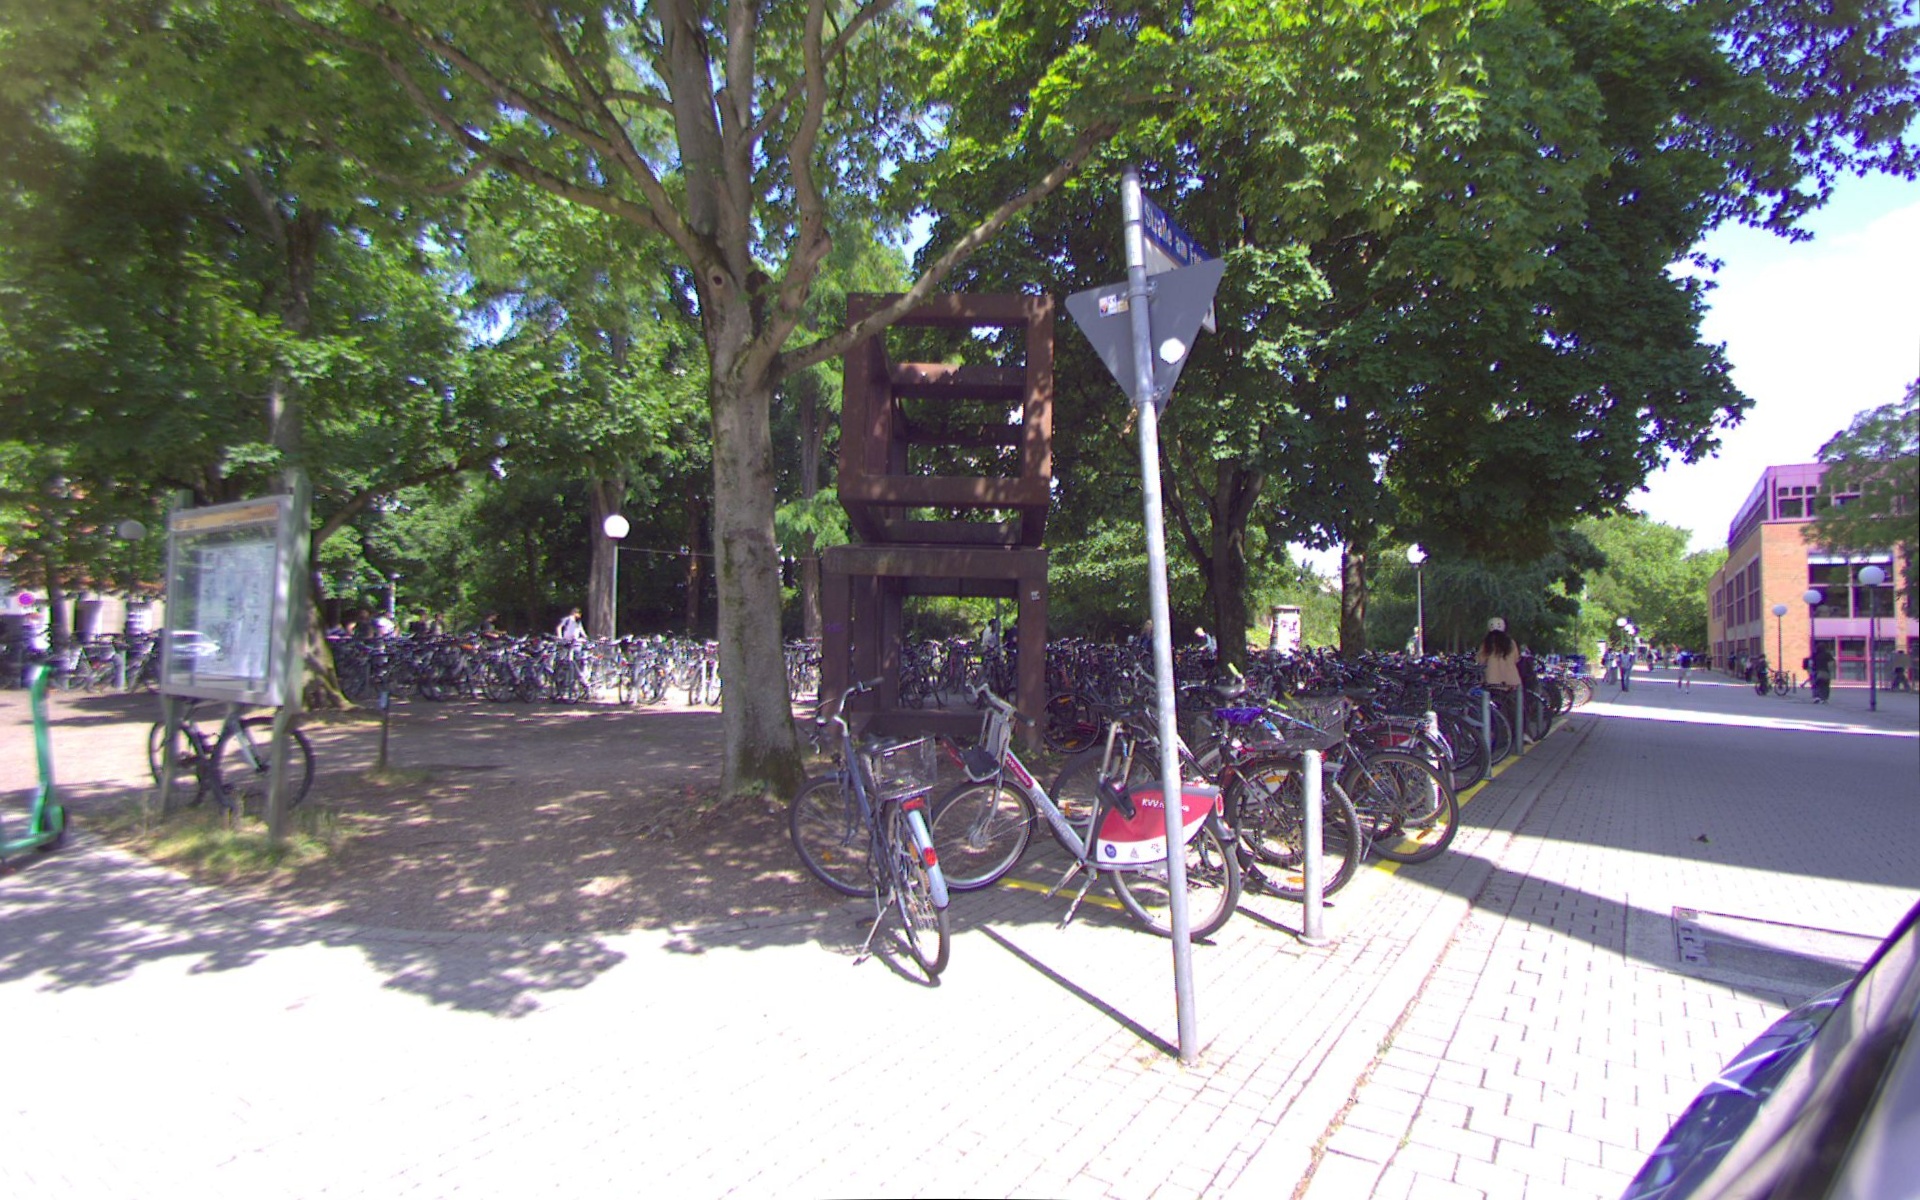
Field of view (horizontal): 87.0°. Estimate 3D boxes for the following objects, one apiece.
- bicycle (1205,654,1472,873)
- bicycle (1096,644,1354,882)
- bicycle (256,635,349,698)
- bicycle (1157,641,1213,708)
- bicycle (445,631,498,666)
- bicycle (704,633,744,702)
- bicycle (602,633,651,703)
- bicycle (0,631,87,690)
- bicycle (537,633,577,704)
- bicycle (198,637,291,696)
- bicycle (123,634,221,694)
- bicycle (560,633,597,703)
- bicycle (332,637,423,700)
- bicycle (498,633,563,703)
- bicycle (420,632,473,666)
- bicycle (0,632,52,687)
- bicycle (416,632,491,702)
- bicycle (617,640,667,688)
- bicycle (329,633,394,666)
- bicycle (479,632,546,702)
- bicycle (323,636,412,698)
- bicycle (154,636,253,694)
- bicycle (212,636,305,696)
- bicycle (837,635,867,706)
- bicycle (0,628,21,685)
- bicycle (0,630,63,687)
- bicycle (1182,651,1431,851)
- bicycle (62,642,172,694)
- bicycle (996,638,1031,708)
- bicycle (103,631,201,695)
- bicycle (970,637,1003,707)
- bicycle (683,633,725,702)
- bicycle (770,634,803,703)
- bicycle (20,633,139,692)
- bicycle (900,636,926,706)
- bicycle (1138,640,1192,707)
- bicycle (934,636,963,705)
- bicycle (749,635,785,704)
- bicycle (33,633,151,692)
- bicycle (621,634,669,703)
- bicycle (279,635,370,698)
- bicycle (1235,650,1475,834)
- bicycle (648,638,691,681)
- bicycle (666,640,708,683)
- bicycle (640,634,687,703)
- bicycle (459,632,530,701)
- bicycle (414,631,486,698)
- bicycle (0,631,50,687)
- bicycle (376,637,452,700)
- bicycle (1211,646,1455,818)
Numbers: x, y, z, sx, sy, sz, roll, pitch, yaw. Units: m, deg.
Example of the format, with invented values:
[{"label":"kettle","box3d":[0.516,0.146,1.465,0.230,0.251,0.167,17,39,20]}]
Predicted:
[{"label":"bicycle","box3d":[2.238,0.911,6.050,1.430,1.099,0.455,1,0,33]},{"label":"bicycle","box3d":[1.520,0.880,6.030,0.483,1.156,1.526,1,0,-35]},{"label":"bicycle","box3d":[-12.147,1.203,18.762,0.419,1.084,1.790,1,-2,4]},{"label":"bicycle","box3d":[4.228,1.375,19.131,0.338,1.185,1.848,1,-2,-10]},{"label":"bicycle","box3d":[-15.567,1.538,32.279,0.471,1.053,1.824,-1,-1,13]},{"label":"bicycle","box3d":[-4.295,1.204,18.486,0.346,1.185,1.845,1,-2,-2]},{"label":"bicycle","box3d":[-6.044,1.202,18.403,0.339,1.185,1.845,1,-2,-2]},{"label":"bicycle","box3d":[-18.131,1.157,19.545,0.400,1.096,1.934,0,-2,23]},{"label":"bicycle","box3d":[-7.230,1.204,18.206,0.338,1.185,1.848,1,-2,-12]},{"label":"bicycle","box3d":[-13.422,1.226,19.043,0.375,1.041,1.791,1,-2,3]},{"label":"bicycle","box3d":[-14.779,1.174,19.036,0.485,1.066,1.738,1,-2,-2]},{"label":"bicycle","box3d":[-6.868,1.200,18.271,0.338,1.185,1.848,1,-2,-12]},{"label":"bicycle","box3d":[-10.554,1.215,18.399,0.419,1.084,1.789,0,-2,6]},{"label":"bicycle","box3d":[-7.736,1.199,18.312,0.339,1.185,1.844,1,-2,1]},{"label":"bicycle","box3d":[-16.438,1.547,32.446,0.471,1.053,1.776,-1,-1,13]},{"label":"bicycle","box3d":[-19.435,1.192,20.306,0.433,1.096,1.759,0,-2,23]},{"label":"bicycle","box3d":[-9.091,1.172,18.235,0.395,1.185,1.792,1,-2,1]},{"label":"bicycle","box3d":[-7.048,1.407,22.519,0.372,0.991,1.901,0,-1,5]},{"label":"bicycle","box3d":[-19.551,1.602,33.082,0.604,0.991,1.950,-1,-1,15]},{"label":"bicycle","box3d":[-8.083,1.183,18.340,0.339,1.185,1.844,1,-2,1]},{"label":"bicycle","box3d":[-10.926,1.213,18.729,0.419,1.084,1.789,0,-2,6]},{"label":"bicycle","box3d":[-14.307,1.207,19.193,0.432,1.041,1.795,1,-2,3]},{"label":"bicycle","box3d":[-13.076,1.210,18.922,0.375,1.041,1.791,1,-2,3]},{"label":"bicycle","box3d":[-1.903,1.222,17.979,0.381,1.185,1.845,1,-2,-2]},{"label":"bicycle","box3d":[-20.477,1.155,20.508,0.644,1.182,2.004,0,-2,23]},{"label":"bicycle","box3d":[-18.806,1.143,19.741,0.400,1.096,1.934,0,-2,23]},{"label":"bicycle","box3d":[2.238,0.928,6.626,1.465,1.099,0.454,1,0,37]},{"label":"bicycle","box3d":[-15.980,1.271,19.237,0.486,0.921,1.735,0,-2,5]},{"label":"bicycle","box3d":[0.963,1.298,18.505,0.405,1.185,1.846,1,-2,-4]},{"label":"bicycle","box3d":[-15.470,1.180,19.426,0.485,1.170,1.738,1,-2,-2]},{"label":"bicycle","box3d":[0.477,1.282,18.471,0.405,1.185,1.846,1,-2,-4]},{"label":"bicycle","box3d":[-4.663,1.206,18.518,0.346,1.185,1.845,1,-2,-2]},{"label":"bicycle","box3d":[-3.168,1.232,18.567,0.346,1.185,1.845,1,-2,-2]},{"label":"bicycle","box3d":[-17.030,1.181,19.641,0.320,1.073,1.906,0,-2,12]},{"label":"bicycle","box3d":[-0.872,1.255,18.392,0.405,1.185,1.846,1,-2,-4]},{"label":"bicycle","box3d":[3.867,1.362,19.211,0.338,1.185,1.848,1,-2,-10]},{"label":"bicycle","box3d":[-0.221,1.264,18.639,0.405,1.185,1.846,1,-2,-4]},{"label":"bicycle","box3d":[-3.519,1.234,18.548,0.346,1.185,1.845,1,-2,-2]},{"label":"bicycle","box3d":[-16.734,1.180,19.563,0.320,1.073,1.906,0,-2,12]},{"label":"bicycle","box3d":[-5.704,1.217,18.408,0.339,1.185,1.845,1,-2,-2]},{"label":"bicycle","box3d":[-11.716,1.201,18.719,0.419,1.084,1.790,1,-2,4]},{"label":"bicycle","box3d":[2.764,0.945,7.174,1.508,1.099,0.475,1,0,41]},{"label":"bicycle","box3d":[-7.147,1.445,24.973,0.372,0.991,1.901,0,-1,5]},{"label":"bicycle","box3d":[-6.709,1.490,24.941,0.372,0.991,1.901,0,-1,5]},{"label":"bicycle","box3d":[-5.372,1.214,18.414,0.339,1.185,1.845,1,-2,-2]},{"label":"bicycle","box3d":[-8.447,1.176,18.450,0.395,1.185,1.844,1,-2,1]},{"label":"bicycle","box3d":[-9.481,1.178,18.886,0.395,1.185,1.792,1,-2,1]},{"label":"bicycle","box3d":[-19.200,1.163,19.904,0.400,1.096,1.934,0,-2,23]},{"label":"bicycle","box3d":[-9.937,1.220,18.475,0.418,1.084,1.793,1,-2,-1]},{"label":"bicycle","box3d":[2.808,0.947,7.741,1.689,1.099,0.475,1,0,41]}]
